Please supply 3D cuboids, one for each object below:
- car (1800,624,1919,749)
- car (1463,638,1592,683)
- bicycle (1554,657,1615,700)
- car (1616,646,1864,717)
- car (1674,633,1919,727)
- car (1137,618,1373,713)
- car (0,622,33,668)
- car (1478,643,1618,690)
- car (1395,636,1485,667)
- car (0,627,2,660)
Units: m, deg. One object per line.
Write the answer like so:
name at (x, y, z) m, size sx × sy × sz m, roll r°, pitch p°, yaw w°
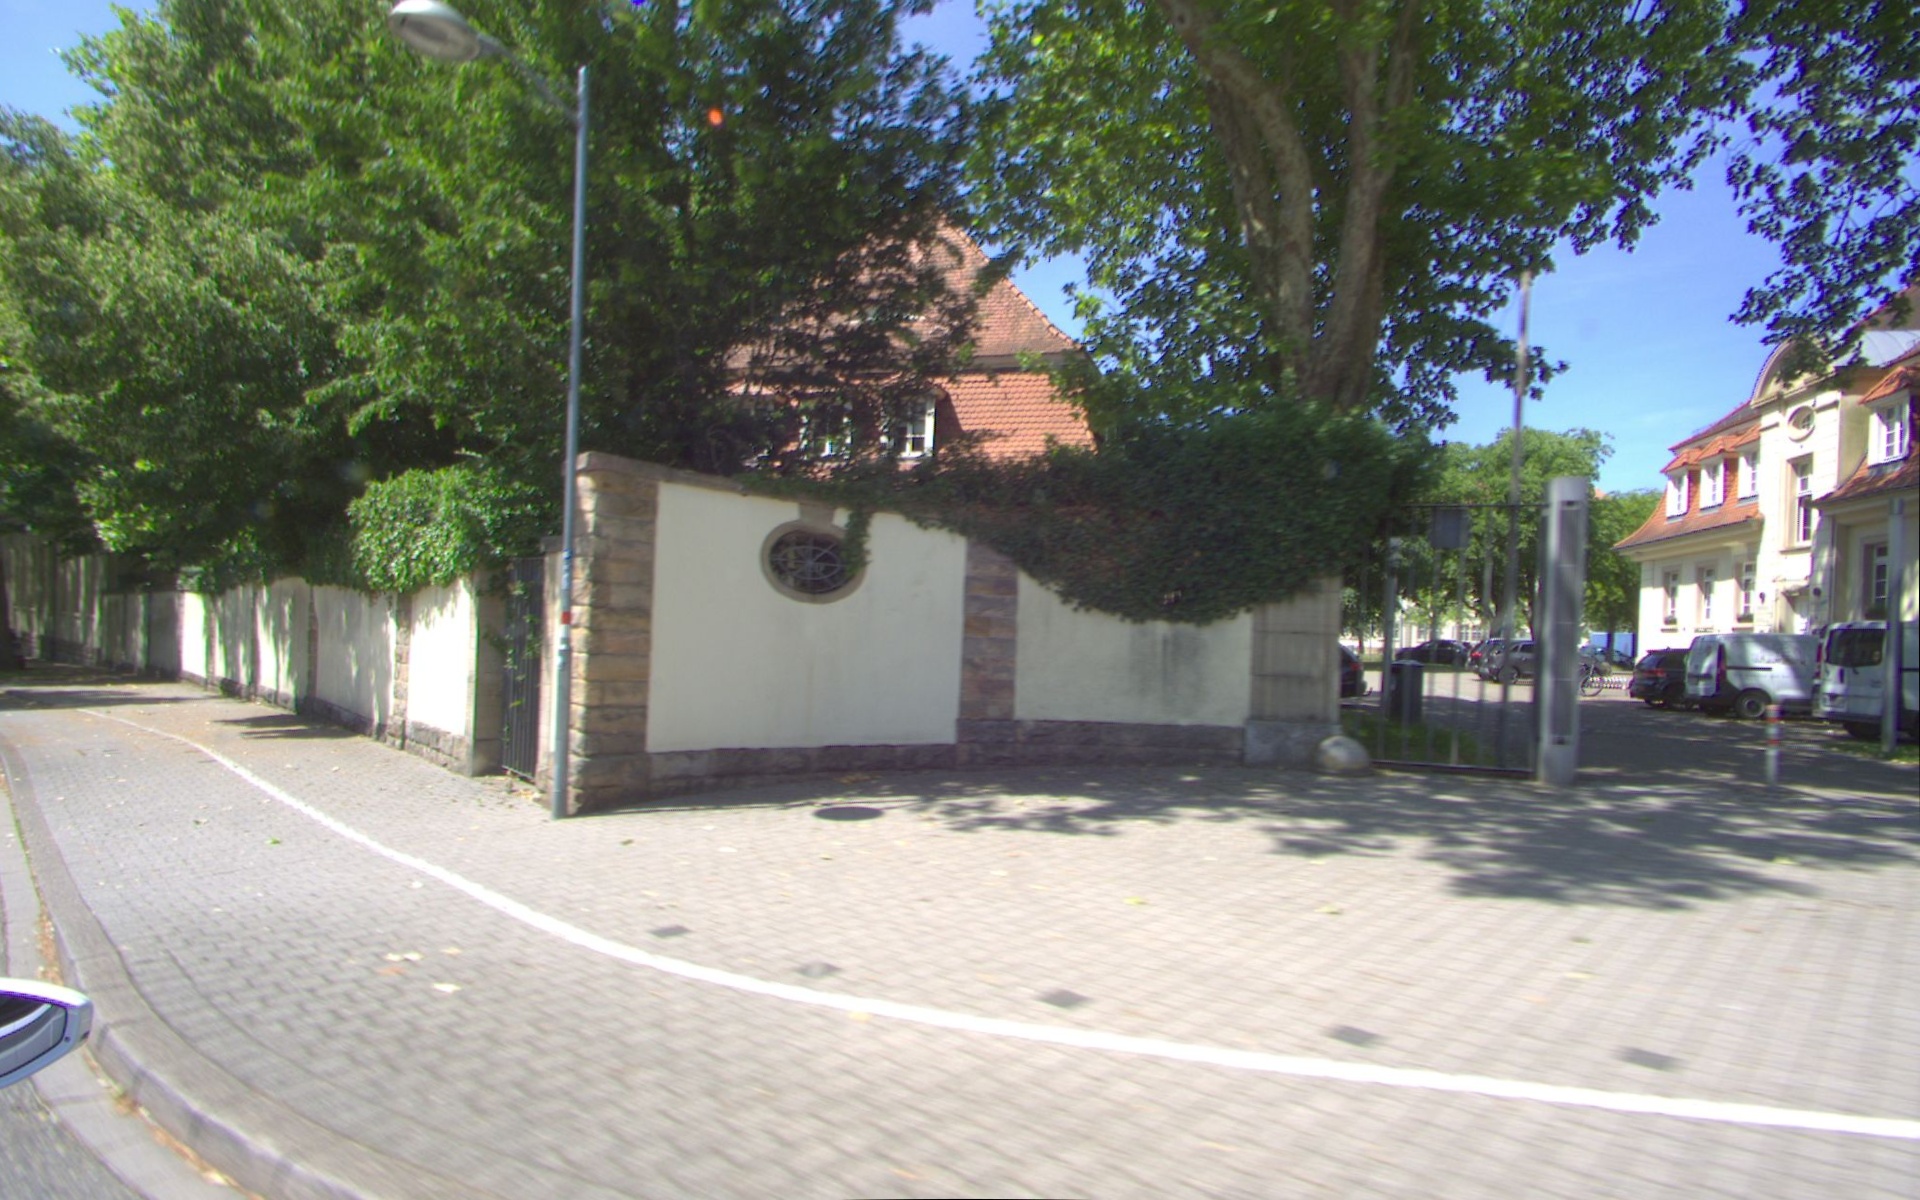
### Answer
car at (16.701, 1.359, 15.898) m, size 4.773 × 1.910 × 1.976 m, roll 0°, pitch -2°, yaw 11°
car at (21.841, 2.301, 38.687) m, size 4.018 × 1.633 × 1.810 m, roll 0°, pitch -2°, yaw 17°
bicycle at (18.065, 2.245, 29.034) m, size 0.691 × 1.148 × 1.990 m, roll 0°, pitch -2°, yaw 6°
car at (18.271, 1.880, 23.667) m, size 4.250 × 1.503 × 1.811 m, roll 0°, pitch -2°, yaw 12°
car at (17.851, 1.637, 21.042) m, size 4.250 × 1.834 × 1.842 m, roll 0°, pitch -2°, yaw 11°
car at (6.106, 1.308, 20.930) m, size 4.420 × 1.421 × 1.998 m, roll 5°, pitch 0°, yaw 18°
car at (-36.347, 1.674, 37.769) m, size 4.728 × 1.578 × 1.731 m, roll 0°, pitch 0°, yaw 43°
car at (21.164, 2.368, 36.215) m, size 4.018 × 1.565 × 1.810 m, roll 0°, pitch -2°, yaw 17°
car at (25.474, 2.732, 53.181) m, size 4.040 × 1.565 × 1.800 m, roll -1°, pitch -2°, yaw 36°
car at (-44.822, 1.949, 45.468) m, size 4.383 × 1.458 × 1.613 m, roll -1°, pitch -1°, yaw 42°
